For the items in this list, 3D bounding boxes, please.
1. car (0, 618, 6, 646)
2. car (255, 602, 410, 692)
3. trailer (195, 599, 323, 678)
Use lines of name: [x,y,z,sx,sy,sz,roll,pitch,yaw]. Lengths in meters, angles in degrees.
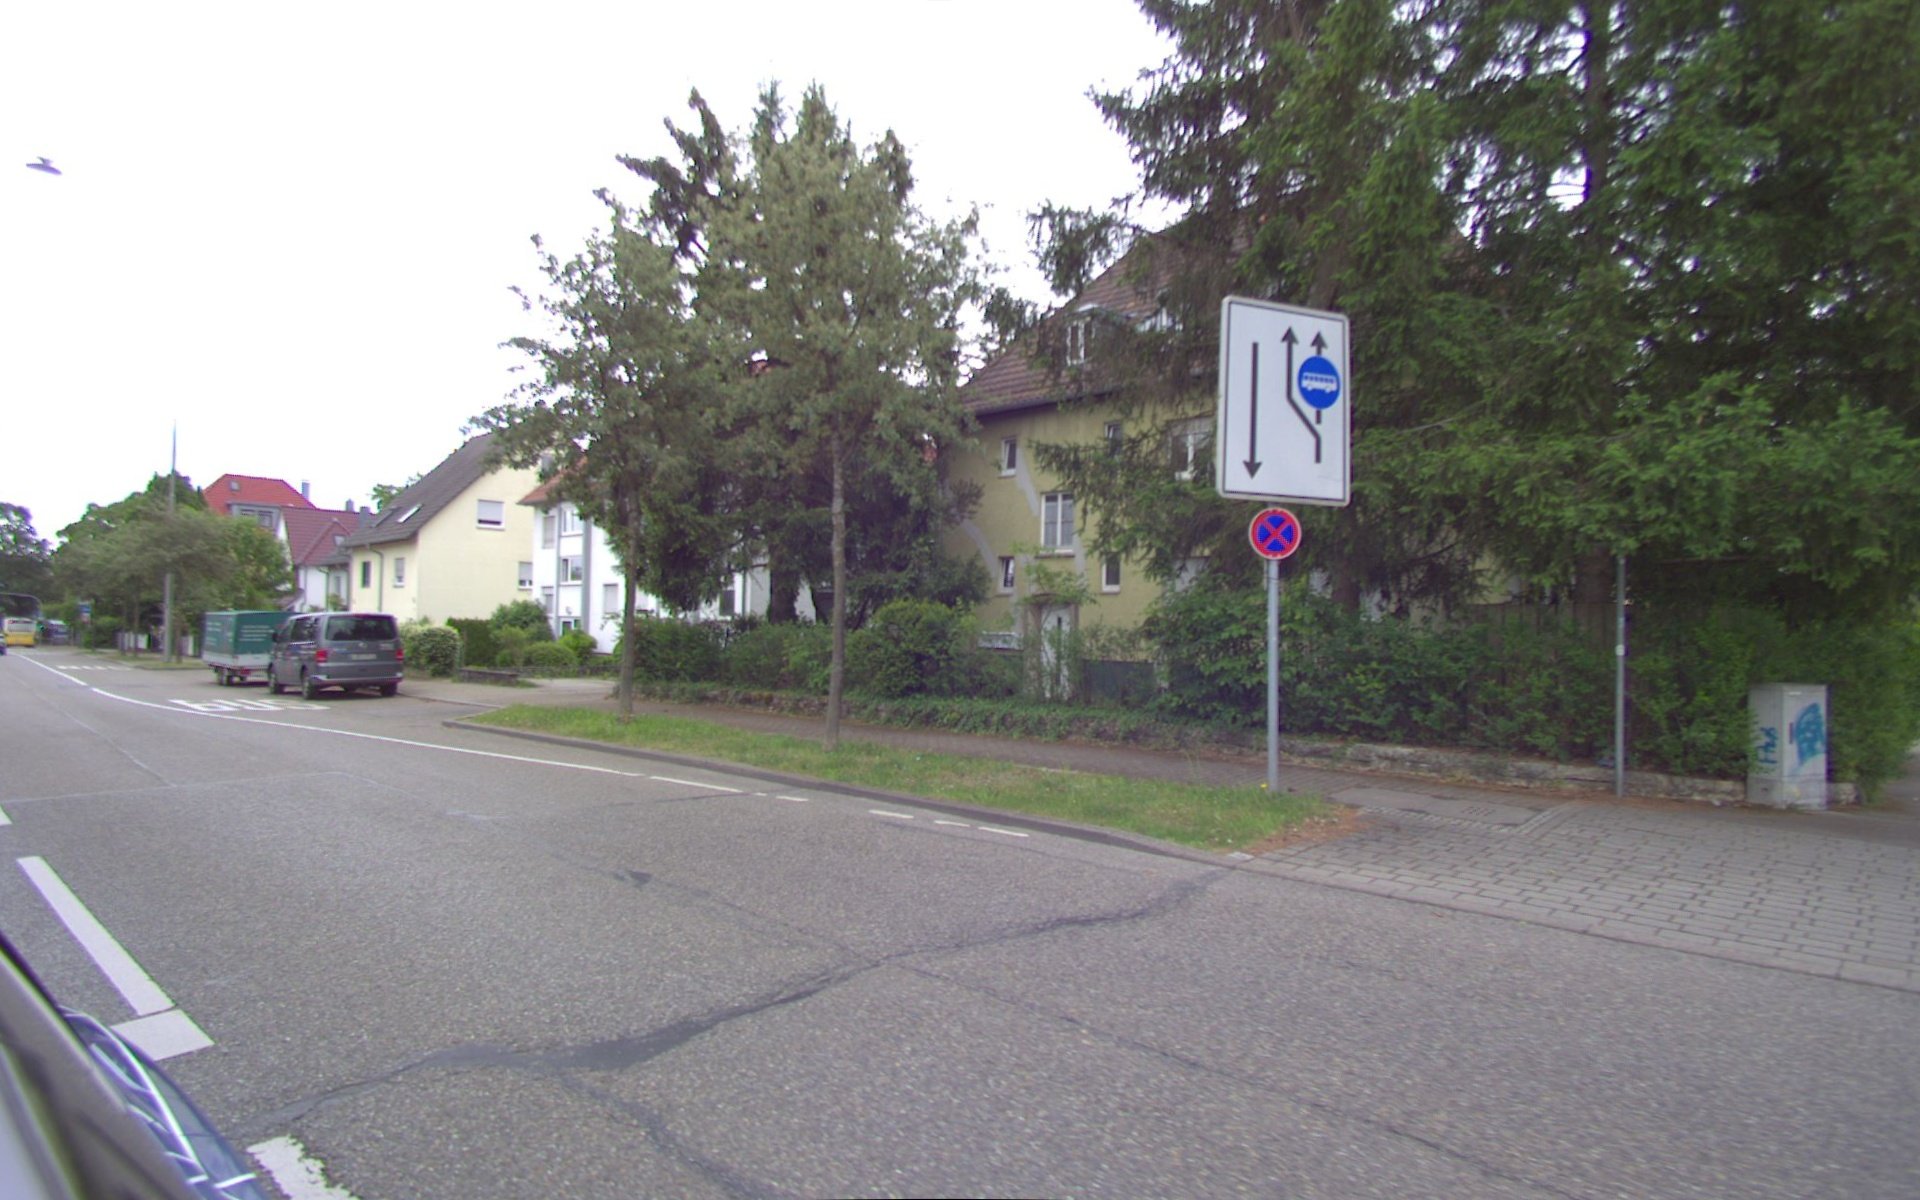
car: [-57.013,1.878,59.101,1.800,1.615,4.302,1,-2,-44]
car: [-15.162,1.094,24.349,4.899,1.964,1.971,-1,-3,44]
trailer: [-20.283,1.105,29.215,4.426,2.104,2.131,-1,-3,43]
